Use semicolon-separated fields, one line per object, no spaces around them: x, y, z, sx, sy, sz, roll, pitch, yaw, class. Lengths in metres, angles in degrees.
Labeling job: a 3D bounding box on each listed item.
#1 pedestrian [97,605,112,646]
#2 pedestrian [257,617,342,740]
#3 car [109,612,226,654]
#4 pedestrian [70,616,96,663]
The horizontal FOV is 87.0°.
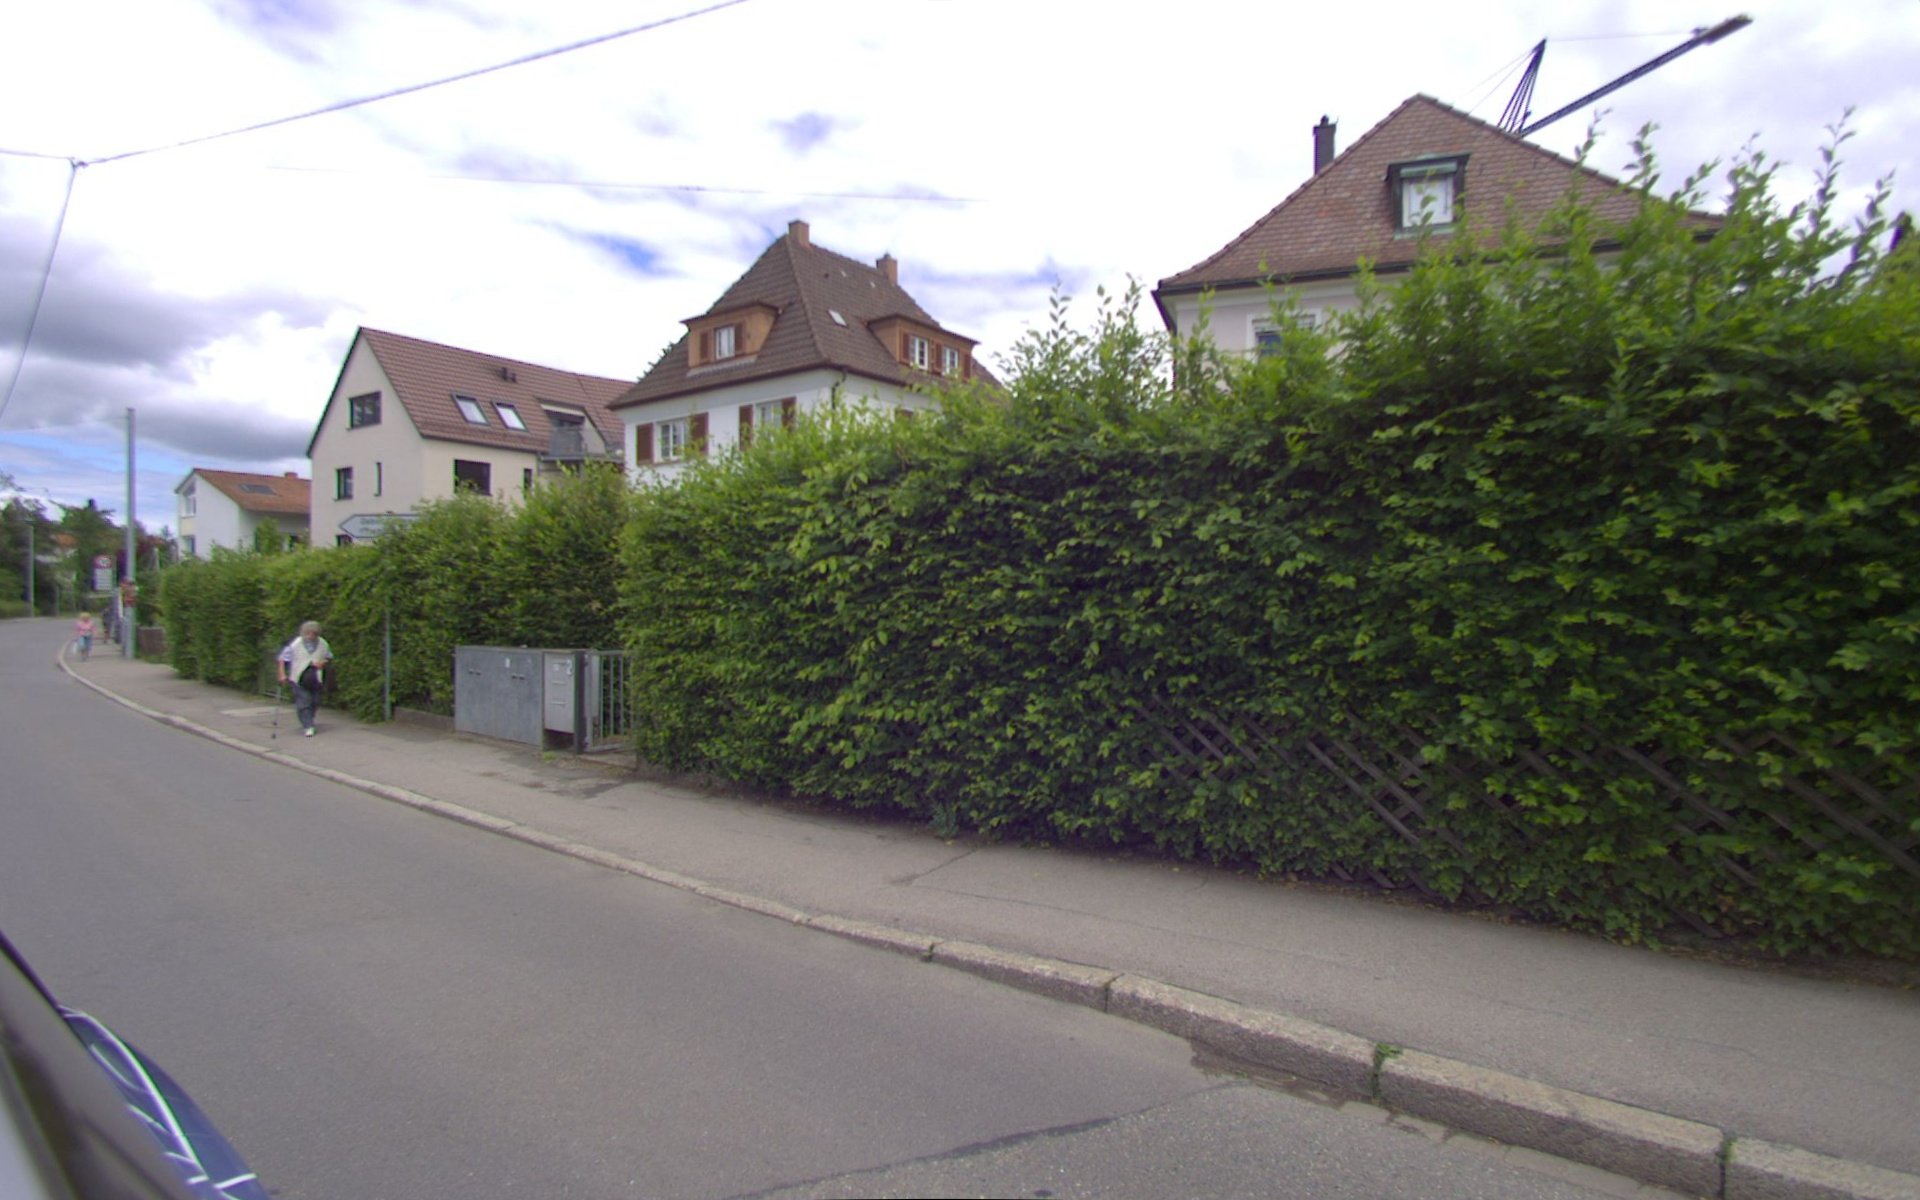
-40.995;1.227;48.521;0.528;1.967;0.528;0;-1;-38;pedestrian
-8.733;1.015;13.399;0.542;1.542;0.742;-1;1;29;pedestrian
-35.573;1.445;45.496;1.886;1.741;3.942;-1;-1;44;car
-30.506;1.377;35.218;0.608;1.611;0.611;-1;-1;41;pedestrian
